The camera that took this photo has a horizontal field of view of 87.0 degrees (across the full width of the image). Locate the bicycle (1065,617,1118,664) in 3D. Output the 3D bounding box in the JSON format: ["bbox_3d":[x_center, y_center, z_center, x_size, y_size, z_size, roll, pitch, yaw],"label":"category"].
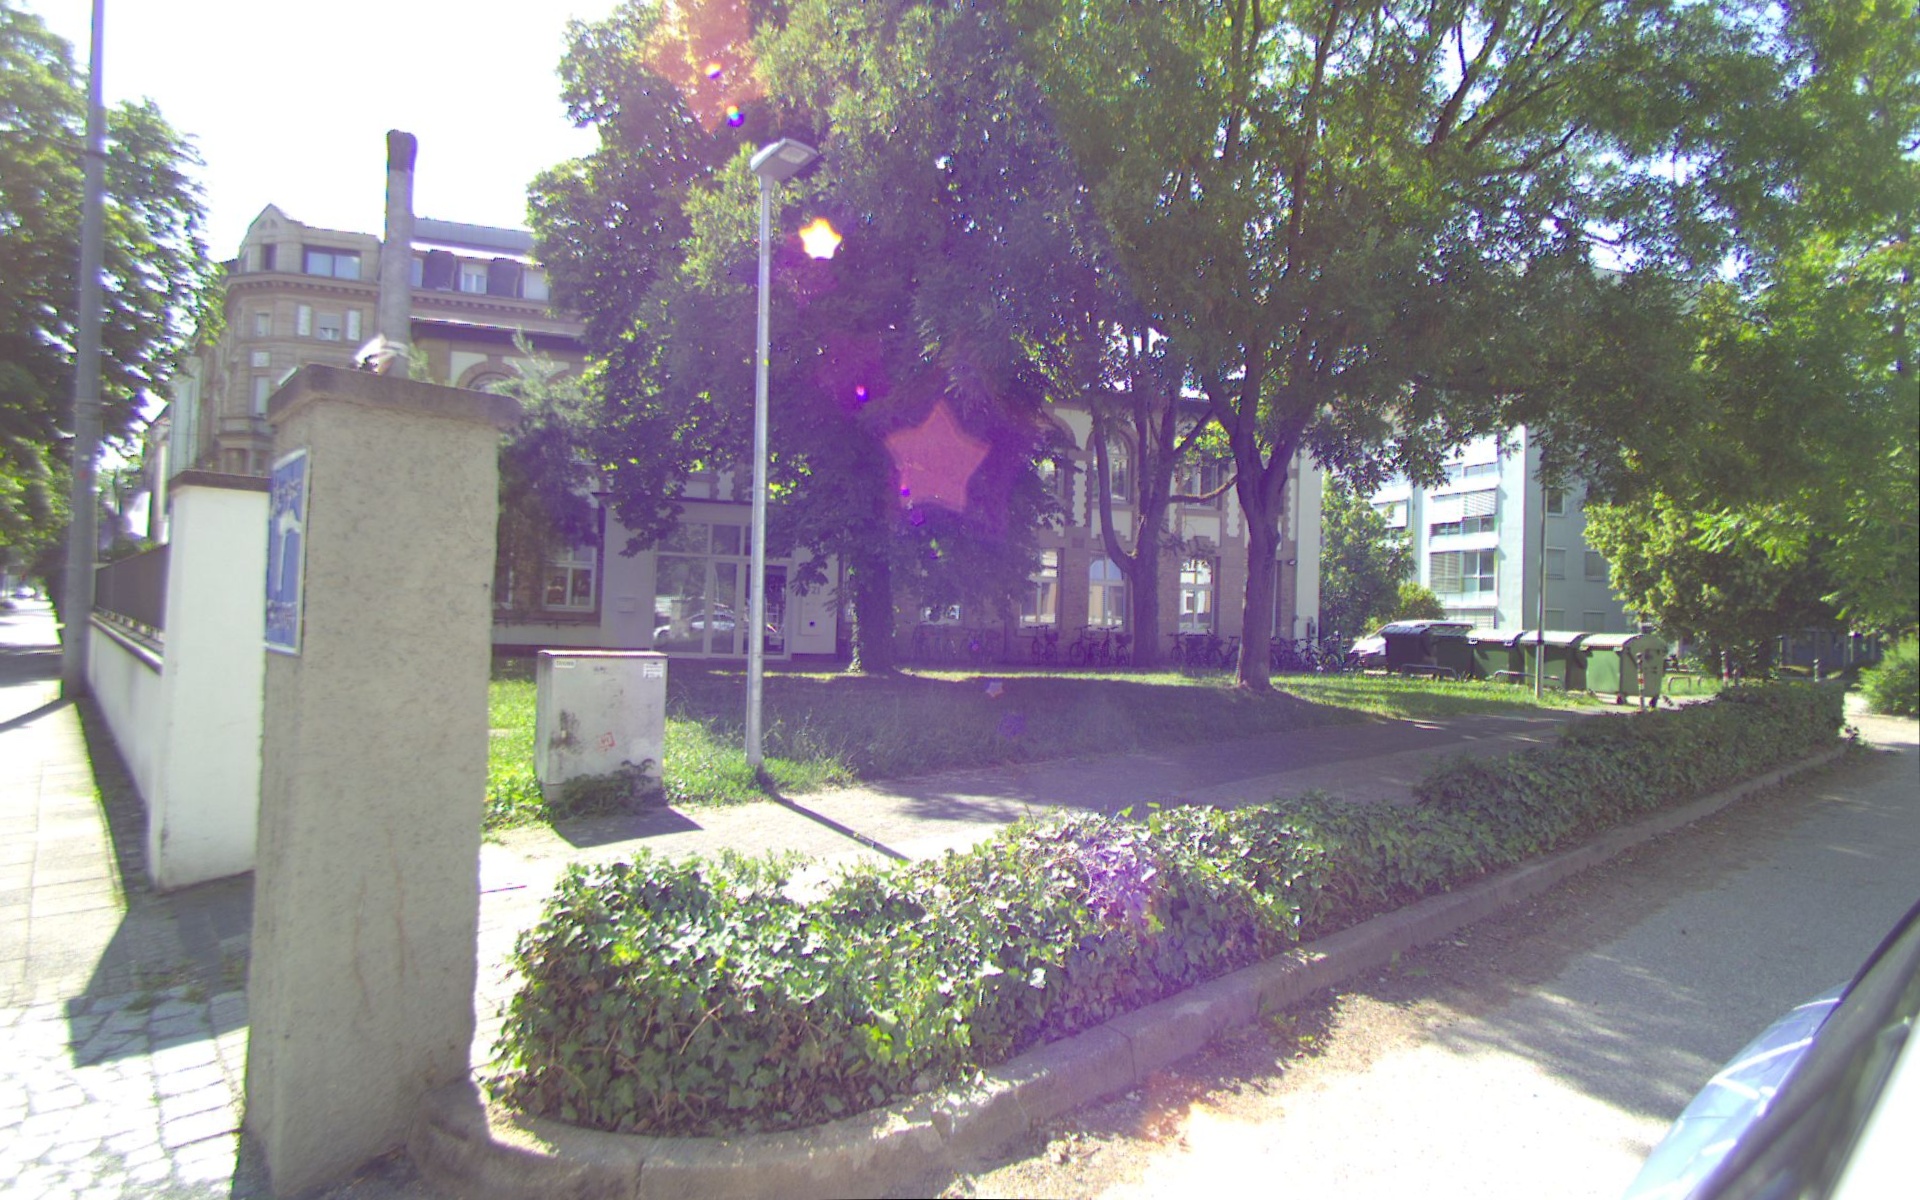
[{"bbox_3d":[3.496,1.053,27.093,0.575,1.176,2.107,2,-1,-17],"label":"bicycle"}]

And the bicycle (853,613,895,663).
[{"bbox_3d":[-2.148,0.911,24.991,0.575,1.176,2.107,2,-1,-17],"label":"bicycle"}]

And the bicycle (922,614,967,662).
[{"bbox_3d":[-0.419,0.953,26.103,0.575,1.176,2.107,2,-1,-17],"label":"bicycle"}]

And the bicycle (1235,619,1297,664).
[{"bbox_3d":[8.602,1.146,28.546,0.575,1.176,2.107,2,-1,-17],"label":"bicycle"}]

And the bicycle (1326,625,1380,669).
[{"bbox_3d":[11.213,1.310,28.946,0.546,1.176,1.947,1,-1,-7],"label":"bicycle"}]

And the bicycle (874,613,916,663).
[{"bbox_3d":[-1.662,0.940,25.600,0.575,1.176,2.107,2,-1,-17],"label":"bicycle"}]

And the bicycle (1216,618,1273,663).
[{"bbox_3d":[7.921,1.111,28.266,0.575,1.176,1.925,2,-1,-17],"label":"bicycle"}]

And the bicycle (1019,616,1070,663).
[{"bbox_3d":[2.209,1.020,26.743,0.575,1.176,2.107,2,-1,-17],"label":"bicycle"}]

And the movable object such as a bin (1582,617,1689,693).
[{"bbox_3d":[13.778,1.100,20.696,1.191,1.481,1.393,1,-1,-5],"label":"movable object such as a bin"}]

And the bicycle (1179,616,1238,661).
[{"bbox_3d":[6.866,1.053,28.061,0.575,1.176,2.107,2,-1,-17],"label":"bicycle"}]

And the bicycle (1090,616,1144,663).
[{"bbox_3d":[4.212,1.043,27.347,0.575,1.176,2.107,2,-1,-17],"label":"bicycle"}]

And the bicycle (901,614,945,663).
[{"bbox_3d":[-0.967,0.949,25.807,0.575,1.176,2.107,2,-1,-17],"label":"bicycle"}]

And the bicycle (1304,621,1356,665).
[{"bbox_3d":[10.588,1.215,29.017,0.496,1.176,1.808,2,-1,-12],"label":"bicycle"}]

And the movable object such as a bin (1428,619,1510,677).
[{"bbox_3d":[12.589,1.171,25.055,1.190,1.366,1.355,2,-1,-20],"label":"movable object such as a bin"}]

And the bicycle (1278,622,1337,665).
[{"bbox_3d":[9.936,1.226,28.982,0.600,1.176,1.855,2,-1,-17],"label":"bicycle"}]

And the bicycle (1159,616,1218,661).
[{"bbox_3d":[6.255,1.040,27.817,0.575,1.176,2.107,2,-1,-17],"label":"bicycle"}]

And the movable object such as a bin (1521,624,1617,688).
[{"bbox_3d":[13.296,1.209,22.134,1.190,1.317,1.358,2,-1,-20],"label":"movable object such as a bin"}]

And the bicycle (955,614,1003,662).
[{"bbox_3d":[0.472,0.971,26.306,0.575,1.176,2.107,2,-1,-17],"label":"bicycle"}]

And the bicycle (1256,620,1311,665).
[{"bbox_3d":[9.144,1.185,28.689,0.484,1.176,1.918,2,-1,-17],"label":"bicycle"}]

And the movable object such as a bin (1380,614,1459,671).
[{"bbox_3d":[12.033,1.106,26.531,1.224,1.427,1.439,2,-1,-21],"label":"movable object such as a bin"}]

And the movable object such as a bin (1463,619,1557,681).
[{"bbox_3d":[12.773,1.145,23.531,1.190,1.379,1.505,2,-1,-20],"label":"movable object such as a bin"}]
